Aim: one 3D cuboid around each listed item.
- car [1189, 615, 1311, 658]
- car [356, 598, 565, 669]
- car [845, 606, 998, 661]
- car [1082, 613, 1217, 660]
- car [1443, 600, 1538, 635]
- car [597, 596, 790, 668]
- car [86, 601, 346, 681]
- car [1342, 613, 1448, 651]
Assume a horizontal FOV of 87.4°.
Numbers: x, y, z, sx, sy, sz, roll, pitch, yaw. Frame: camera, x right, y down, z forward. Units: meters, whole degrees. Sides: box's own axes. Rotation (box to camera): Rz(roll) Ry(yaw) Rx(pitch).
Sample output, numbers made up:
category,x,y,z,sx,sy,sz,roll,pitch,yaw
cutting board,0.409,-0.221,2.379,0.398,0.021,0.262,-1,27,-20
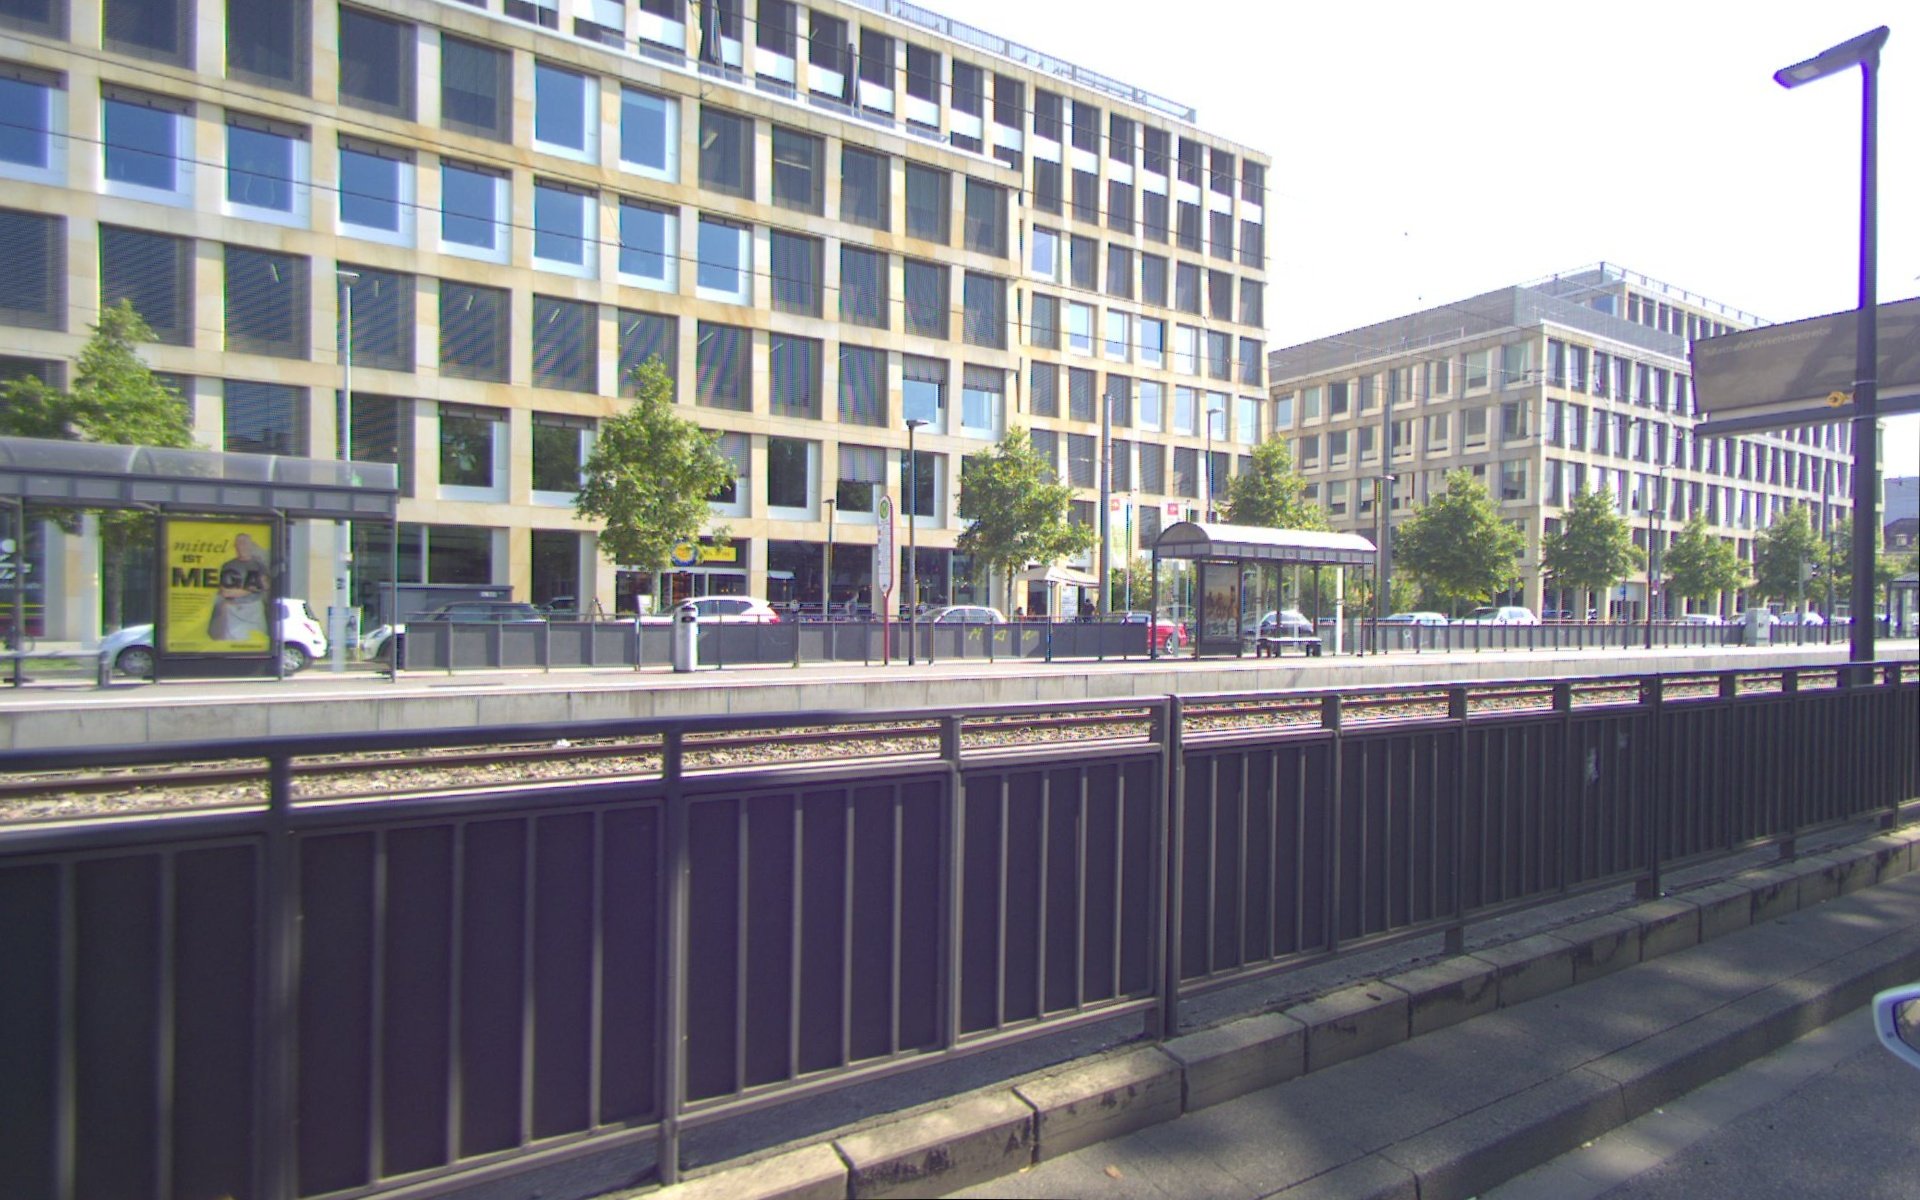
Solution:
category,x,y,z,sx,sy,sz,roll,pitch,yaw
car,10.187,1.242,35.163,4.325,1.426,1.674,1,-1,-32
car,-10.931,0.692,22.037,3.956,1.422,1.891,1,-1,-32
car,-1.044,0.906,28.088,3.956,1.426,1.780,1,-1,-32
car,6.173,1.142,32.555,4.325,1.426,1.674,1,-1,-32
car,22.656,0.723,42.830,4.322,1.426,1.674,1,-1,-32
car,-6.550,0.752,24.850,4.275,1.647,1.779,1,-1,-34
car,-14.431,0.754,19.805,3.956,1.422,1.891,1,-1,-32
car,16.997,1.223,39.188,4.325,1.426,1.674,1,-1,-32
